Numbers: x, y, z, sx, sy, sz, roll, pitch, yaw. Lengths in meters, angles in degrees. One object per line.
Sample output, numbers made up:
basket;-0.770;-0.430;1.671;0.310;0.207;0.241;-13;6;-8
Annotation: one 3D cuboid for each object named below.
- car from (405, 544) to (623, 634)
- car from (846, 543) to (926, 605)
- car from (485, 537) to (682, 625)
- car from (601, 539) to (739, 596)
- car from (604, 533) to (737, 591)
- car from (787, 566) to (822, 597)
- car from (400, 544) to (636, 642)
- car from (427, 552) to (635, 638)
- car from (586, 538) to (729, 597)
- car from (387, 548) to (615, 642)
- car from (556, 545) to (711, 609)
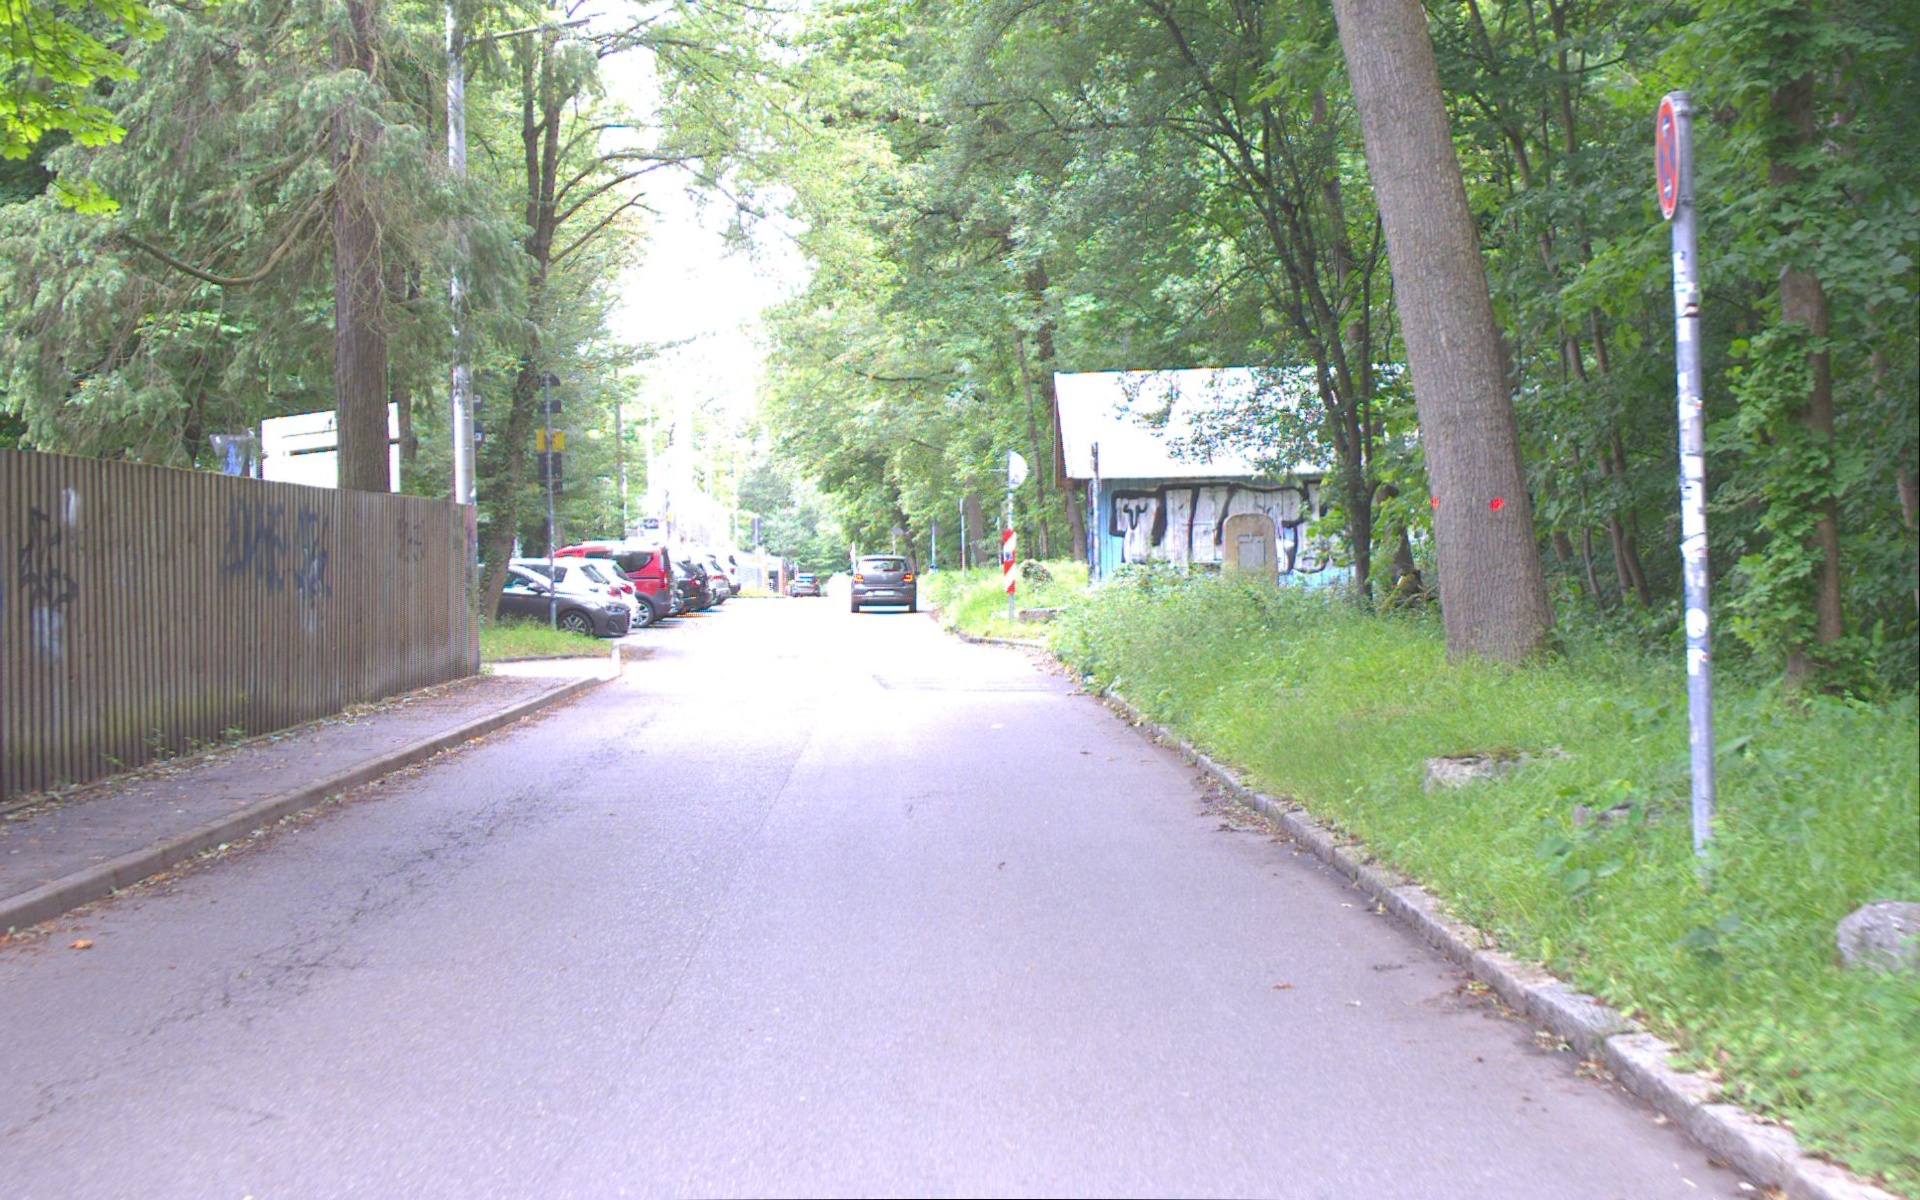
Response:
car;-8.452;-0.226;65.431;3.986;1.568;2.000;-2;1;-5
car;-1.852;-0.659;87.240;1.908;1.503;4.000;1;0;0
car;-8.050;-0.415;73.772;3.987;1.744;2.000;-2;1;-1
car;-7.789;-0.870;92.571;3.572;1.402;1.650;-2;0;-1
car;-9.105;-1.184;108.385;3.987;1.590;1.765;-3;0;-1
car;-10.461;-1.232;231.083;1.993;2.007;4.001;-2;1;-7
car;-7.741;-0.134;60.574;3.986;1.568;2.000;-2;1;-5
car;-8.508;-0.120;68.523;3.986;1.568;2.000;-2;1;-5
car;-7.861;-0.854;89.593;3.572;1.402;1.650;-2;0;-1
car;-8.364;-0.107;62.897;3.986;1.568;2.000;-2;1;-5
car;-7.842;-0.547;82.795;3.572;1.402;1.650;-2;0;-1
